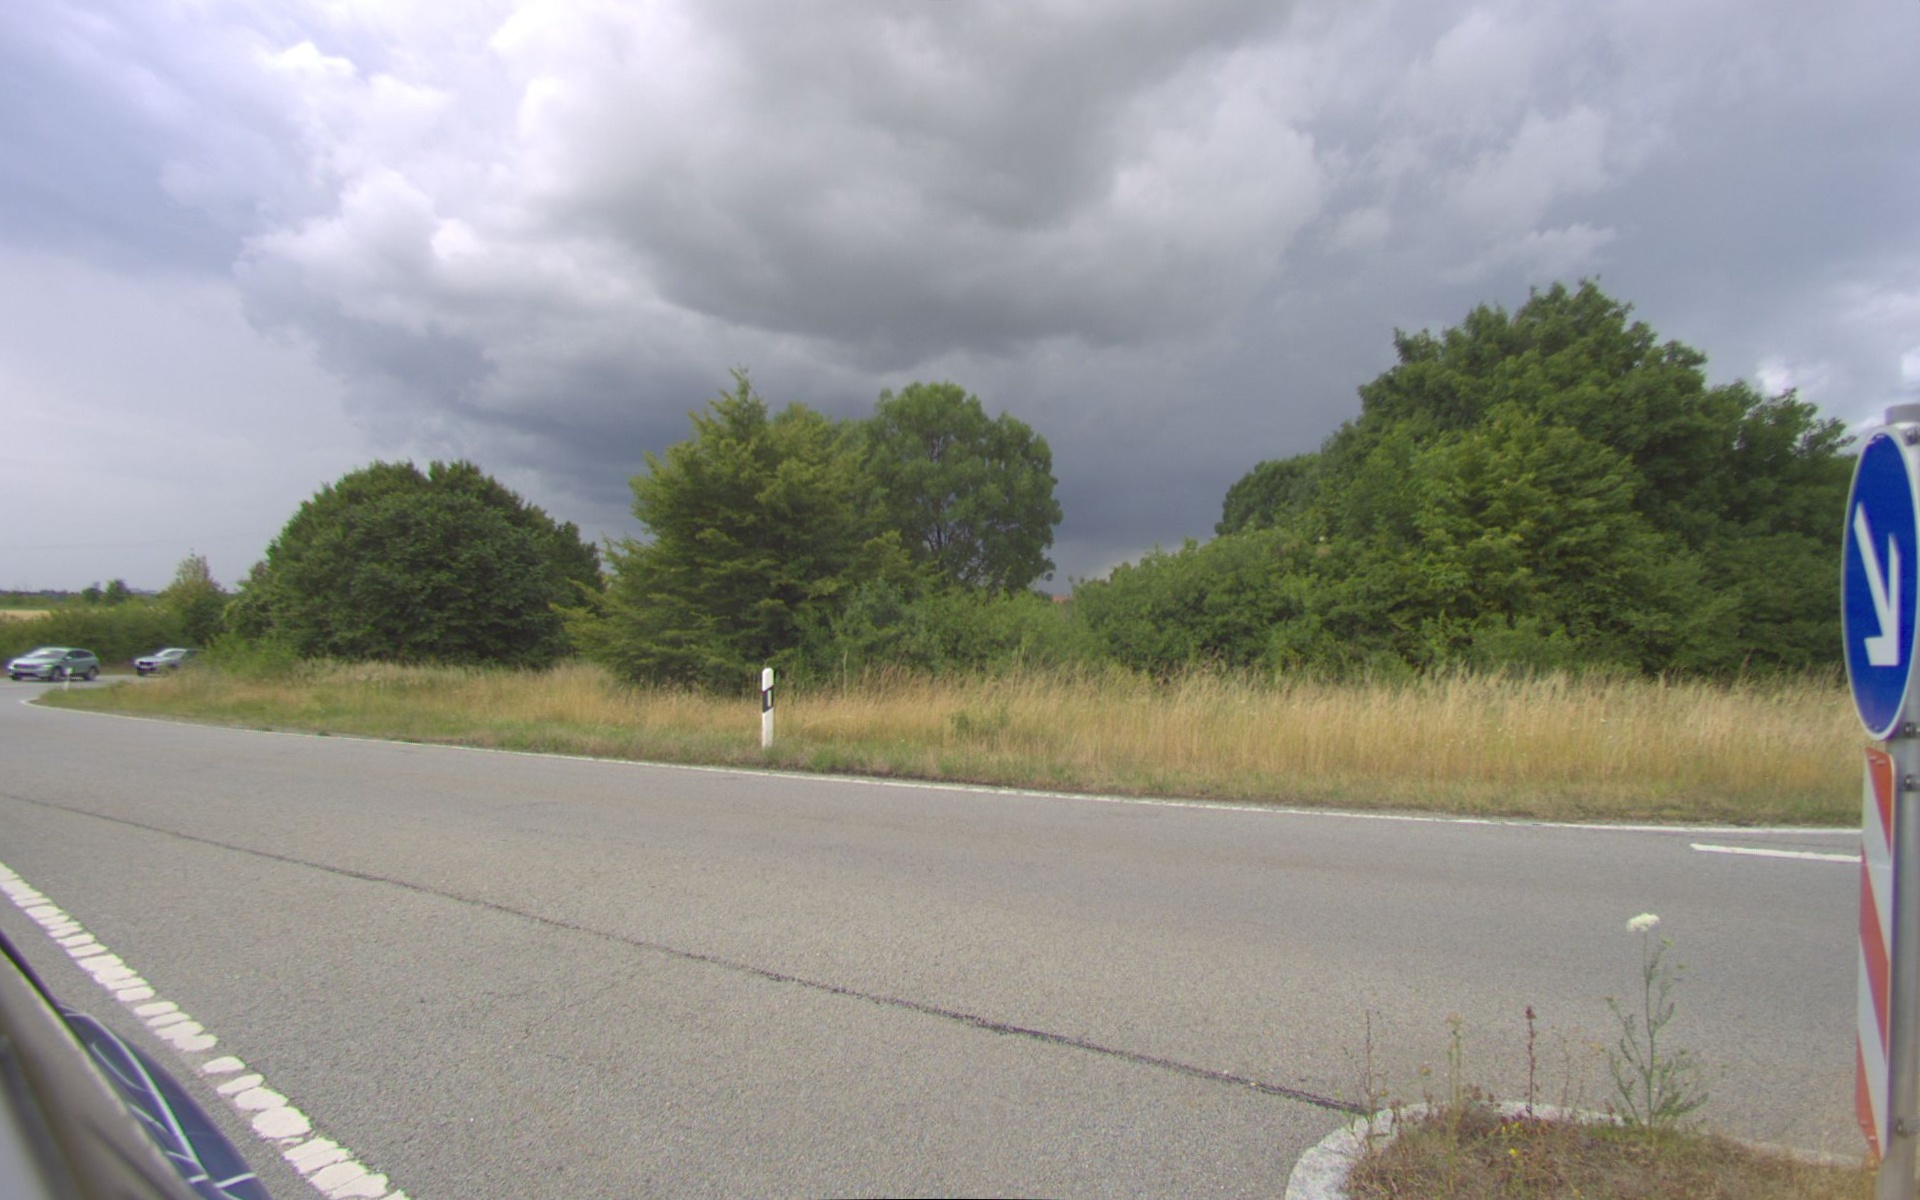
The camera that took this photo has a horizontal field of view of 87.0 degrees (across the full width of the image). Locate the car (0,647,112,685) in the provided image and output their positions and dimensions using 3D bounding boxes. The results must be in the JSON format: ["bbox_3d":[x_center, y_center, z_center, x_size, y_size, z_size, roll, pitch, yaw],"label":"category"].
[{"bbox_3d":[-45.043,3.281,50.349,1.967,1.733,5.219,3,-4,-11],"label":"car"}]

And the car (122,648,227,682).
[{"bbox_3d":[-46.458,3.810,60.023,1.973,1.732,5.206,2,-2,1],"label":"car"}]
